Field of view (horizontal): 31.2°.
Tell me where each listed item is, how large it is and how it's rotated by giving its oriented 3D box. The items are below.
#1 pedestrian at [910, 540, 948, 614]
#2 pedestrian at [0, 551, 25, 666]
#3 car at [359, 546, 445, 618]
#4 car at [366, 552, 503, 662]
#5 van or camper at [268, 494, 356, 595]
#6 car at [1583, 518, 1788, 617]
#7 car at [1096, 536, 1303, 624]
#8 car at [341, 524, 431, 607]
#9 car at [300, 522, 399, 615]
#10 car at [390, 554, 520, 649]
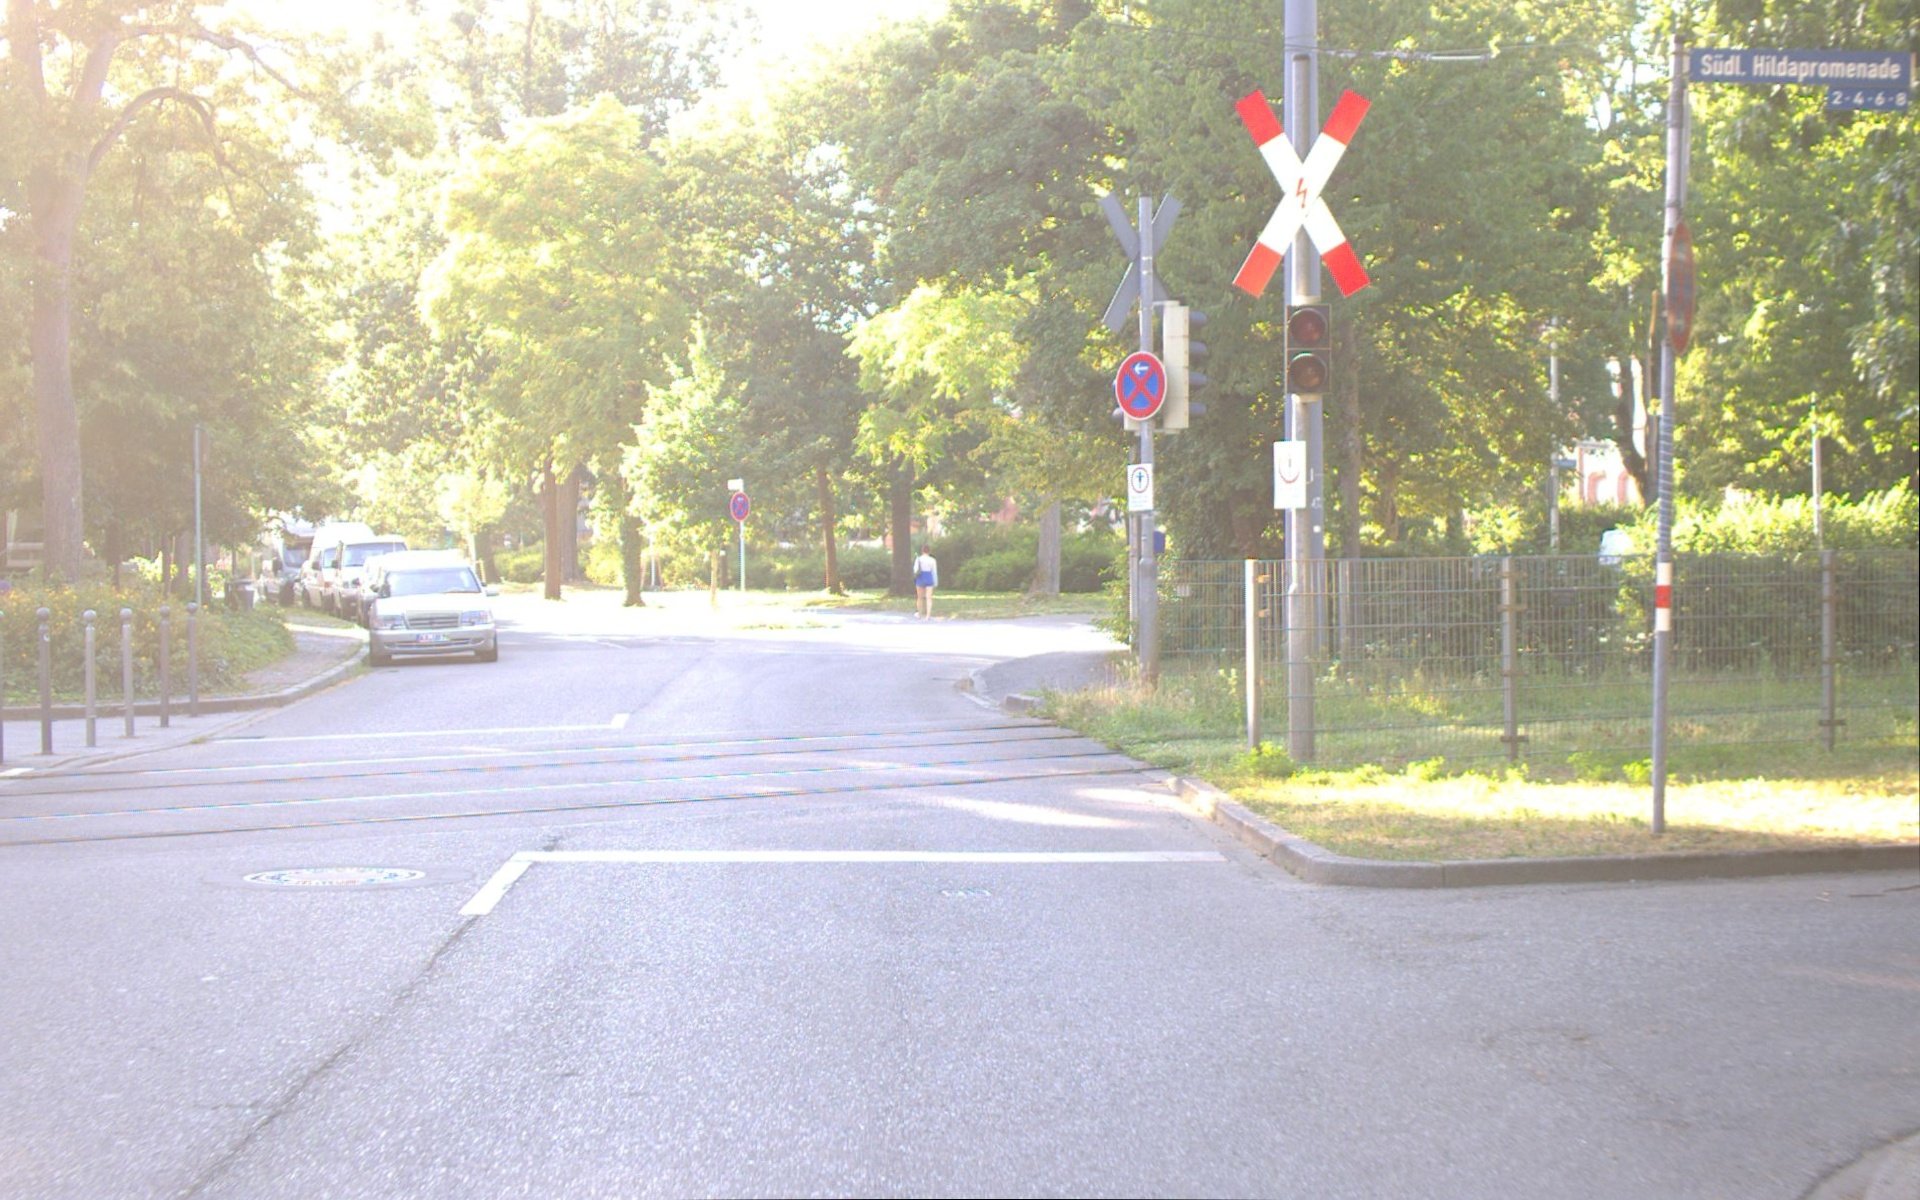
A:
[{"bbox_3d":[-0.657,-0.507,73.669,0.773,1.569,0.768,-1,1,-3],"label":"pedestrian"},{"bbox_3d":[-11.058,0.096,39.123,0.551,1.293,0.765,0,1,5],"label":"pedestrian"},{"bbox_3d":[-12.053,-0.405,74.112,1.615,1.496,3.698,0,1,-13],"label":"car"},{"bbox_3d":[-7.481,0.061,49.100,1.779,1.411,4.499,-2,1,-8],"label":"car"},{"bbox_3d":[-19.224,-1.641,101.804,2.089,2.898,6.334,0,1,-15],"label":"van or camper"},{"bbox_3d":[15.179,-0.694,71.786,1.957,2.007,5.141,1,1,41],"label":"car"},{"bbox_3d":[4.853,-0.432,69.186,1.806,1.670,4.310,3,3,43],"label":"car"},{"bbox_3d":[-13.783,-0.840,82.358,1.850,1.939,4.842,0,1,-13],"label":"car"},{"bbox_3d":[-15.905,-0.845,89.370,1.850,2.347,5.188,0,1,-18],"label":"car"},{"bbox_3d":[-8.306,-0.006,56.266,1.824,1.411,4.496,-2,1,-11],"label":"car"}]
